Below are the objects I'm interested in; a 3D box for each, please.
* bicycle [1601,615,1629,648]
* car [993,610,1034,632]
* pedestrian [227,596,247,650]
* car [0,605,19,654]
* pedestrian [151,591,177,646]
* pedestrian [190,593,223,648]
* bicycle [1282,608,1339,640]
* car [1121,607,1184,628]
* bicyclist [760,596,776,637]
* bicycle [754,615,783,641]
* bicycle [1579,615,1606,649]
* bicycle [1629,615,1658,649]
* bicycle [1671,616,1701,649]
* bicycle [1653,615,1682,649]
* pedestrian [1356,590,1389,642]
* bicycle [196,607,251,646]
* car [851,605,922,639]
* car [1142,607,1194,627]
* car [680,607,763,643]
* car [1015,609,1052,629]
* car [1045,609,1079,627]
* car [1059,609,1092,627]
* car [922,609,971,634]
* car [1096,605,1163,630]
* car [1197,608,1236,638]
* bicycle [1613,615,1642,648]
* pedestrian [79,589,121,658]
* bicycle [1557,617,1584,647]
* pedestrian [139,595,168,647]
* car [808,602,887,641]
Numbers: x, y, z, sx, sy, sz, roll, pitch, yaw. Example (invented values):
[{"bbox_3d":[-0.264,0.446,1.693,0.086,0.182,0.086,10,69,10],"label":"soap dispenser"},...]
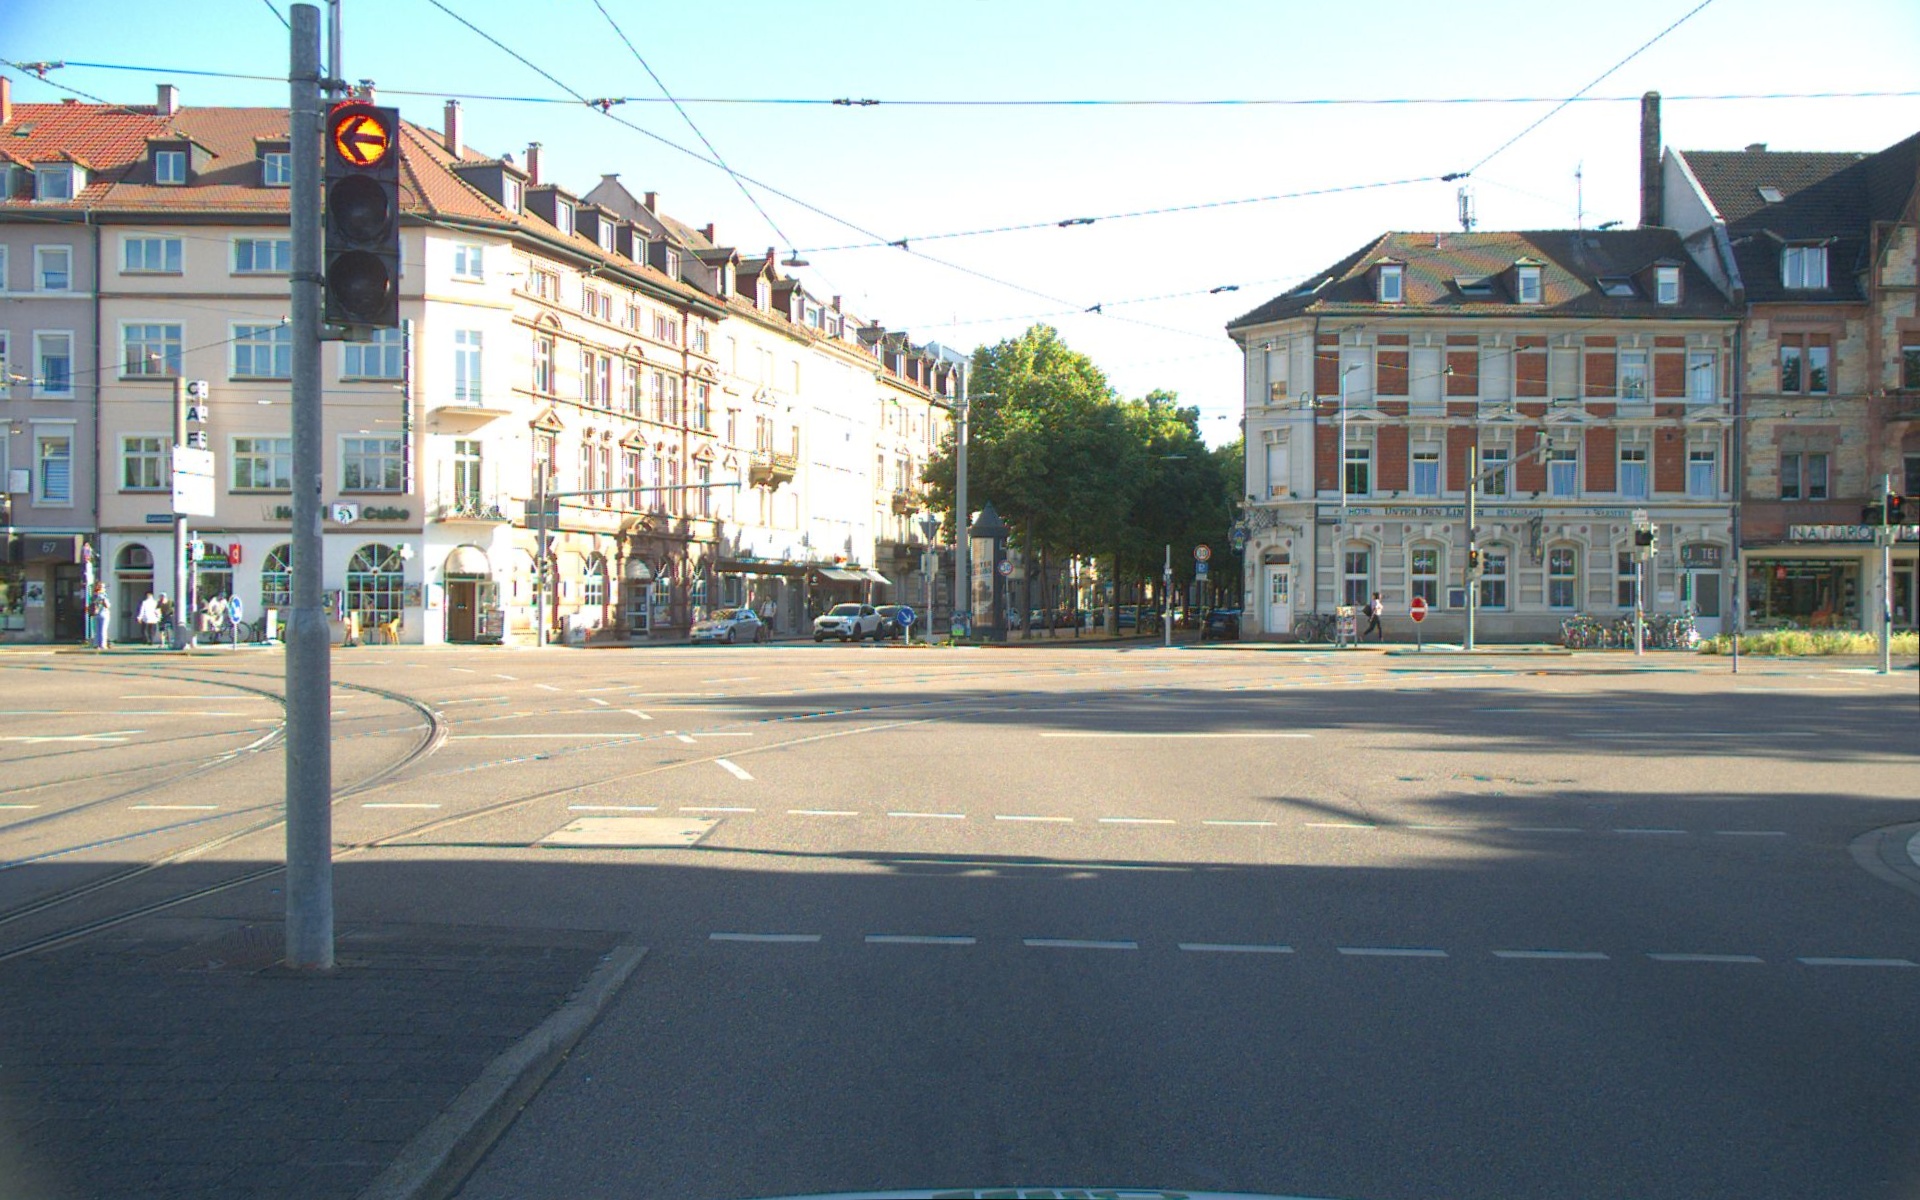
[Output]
[{"bbox_3d":[21.161,1.002,53.489,0.476,1.038,1.785,0,0,9],"label":"bicycle"},{"bbox_3d":[3.812,1.476,116.899,1.951,1.429,4.172,0,0,15],"label":"car"},{"bbox_3d":[-17.246,0.544,39.464,0.358,1.275,0.449,0,0,-12],"label":"pedestrian"},{"bbox_3d":[-32.129,0.900,52.324,3.651,1.517,1.818,1,0,2],"label":"car"},{"bbox_3d":[-24.954,0.582,51.838,0.731,1.711,0.623,0,0,-26],"label":"pedestrian"},{"bbox_3d":[-23.568,0.635,51.735,0.617,1.711,0.738,0,0,42],"label":"pedestrian"},{"bbox_3d":[12.175,0.828,57.519,1.911,1.072,0.716,0,0,9],"label":"bicycle"},{"bbox_3d":[12.313,1.135,105.567,3.902,1.311,1.696,0,0,10],"label":"car"},{"bbox_3d":[-7.549,0.651,65.071,0.479,1.629,0.667,0,0,9],"label":"bicyclist"},{"bbox_3d":[-7.558,1.096,65.171,0.641,1.018,1.666,1,0,11],"label":"bicycle"},{"bbox_3d":[20.472,1.023,53.581,0.476,1.038,1.785,0,0,9],"label":"bicycle"},{"bbox_3d":[22.109,1.018,53.486,0.476,1.038,1.785,0,0,9],"label":"bicycle"},{"bbox_3d":[23.589,1.045,53.748,0.476,1.038,1.785,0,0,9],"label":"bicycle"},{"bbox_3d":[22.904,1.033,53.566,0.476,1.038,1.785,0,0,9],"label":"bicycle"},{"bbox_3d":[14.141,0.541,56.712,1.013,1.741,0.630,1,-1,8],"label":"pedestrian"},{"bbox_3d":[-25.200,0.898,56.610,1.684,1.299,0.385,0,0,-18],"label":"bicycle"},{"bbox_3d":[-3.228,0.950,73.583,1.951,1.429,4.172,0,0,15],"label":"car"},{"bbox_3d":[14.042,1.144,111.666,3.360,1.261,1.578,0,0,10],"label":"car"},{"bbox_3d":[-9.601,0.982,66.885,1.951,1.385,3.821,0,0,15],"label":"car"},{"bbox_3d":[5.471,1.370,122.645,1.951,1.429,4.172,0,0,15],"label":"car"},{"bbox_3d":[8.138,1.425,131.513,1.951,1.429,4.172,0,0,15],"label":"car"},{"bbox_3d":[9.567,1.471,136.731,1.951,1.429,4.172,0,0,15],"label":"car"},{"bbox_3d":[-0.822,1.312,102.061,1.951,1.429,4.172,0,0,15],"label":"car"},{"bbox_3d":[10.246,1.033,99.829,3.902,1.480,1.683,0,0,10],"label":"car"},{"bbox_3d":[12.851,1.139,82.711,1.717,1.445,4.003,0,0,12],"label":"car"},{"bbox_3d":[21.611,1.010,53.557,0.476,1.038,1.785,0,0,9],"label":"bicycle"},{"bbox_3d":[-21.390,0.571,41.131,0.725,1.711,0.628,0,0,-1],"label":"pedestrian"},{"bbox_3d":[19.803,1.016,53.658,0.476,0.930,1.785,0,0,9],"label":"bicycle"},{"bbox_3d":[-26.888,0.685,55.167,0.727,1.711,0.626,0,0,-12],"label":"pedestrian"},{"bbox_3d":[-4.533,0.845,67.391,1.951,1.542,4.172,0,0,15],"label":"car"}]
